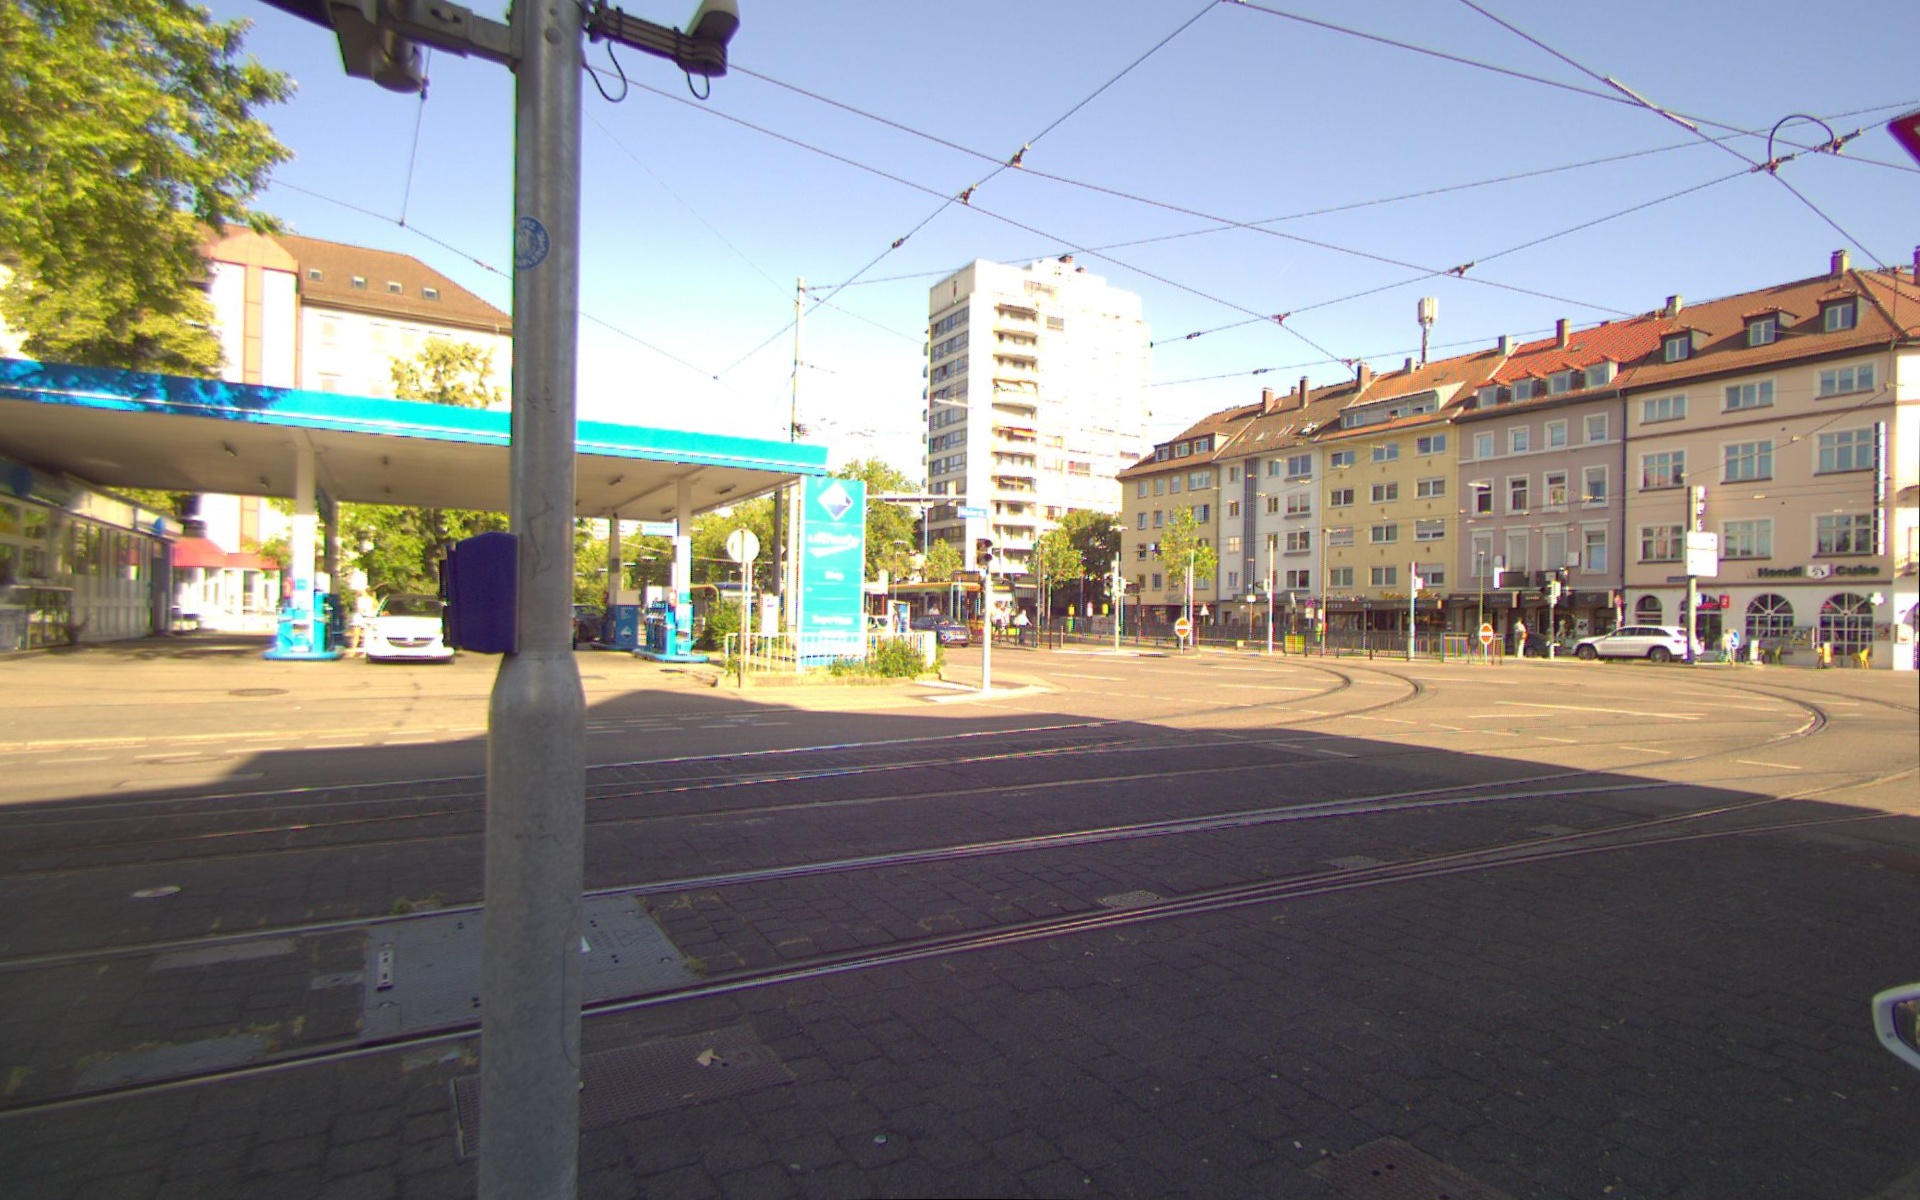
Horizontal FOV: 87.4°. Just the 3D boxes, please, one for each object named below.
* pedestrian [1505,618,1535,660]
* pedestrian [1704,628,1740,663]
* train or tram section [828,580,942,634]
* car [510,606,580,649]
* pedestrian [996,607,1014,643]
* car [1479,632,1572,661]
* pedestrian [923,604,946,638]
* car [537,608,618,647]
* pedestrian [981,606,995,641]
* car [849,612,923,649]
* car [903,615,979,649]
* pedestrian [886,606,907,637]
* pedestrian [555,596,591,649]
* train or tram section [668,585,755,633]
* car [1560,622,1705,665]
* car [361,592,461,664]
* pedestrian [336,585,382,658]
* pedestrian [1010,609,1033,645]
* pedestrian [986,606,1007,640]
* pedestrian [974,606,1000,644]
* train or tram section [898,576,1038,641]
[{"bbox_3d":[24.496,1.697,43.957,0.801,1.842,0.871,1,-1,-29],"label":"pedestrian"},{"bbox_3d":[36.383,2.172,47.967,1.029,1.612,1.061,1,-1,-28],"label":"pedestrian"},{"bbox_3d":[-5.250,0.523,67.584,3.252,3.335,10.157,1,-1,-33],"label":"train or tram section"},{"bbox_3d":[-13.502,0.867,32.580,1.752,1.332,3.520,1,-1,-28],"label":"car"},{"bbox_3d":[2.189,1.200,48.696,0.549,1.721,0.740,1,-1,-33],"label":"pedestrian"},{"bbox_3d":[30.775,2.497,54.716,1.980,1.483,3.962,1,-1,-34],"label":"car"},{"bbox_3d":[-1.399,1.138,55.135,0.902,1.826,0.887,1,-1,-33],"label":"pedestrian"},{"bbox_3d":[-17.204,1.215,45.385,1.960,1.685,4.001,1,-1,2],"label":"car"},{"bbox_3d":[1.388,1.163,50.033,0.491,1.721,0.553,1,-1,-33],"label":"pedestrian"},{"bbox_3d":[-3.507,1.396,46.808,1.976,1.615,3.970,1,-1,-29],"label":"car"},{"bbox_3d":[-0.958,1.494,48.350,1.937,1.475,4.077,1,0,-30],"label":"car"},{"bbox_3d":[-3.762,1.285,59.445,0.902,1.826,0.887,1,-1,-33],"label":"pedestrian"},{"bbox_3d":[-13.746,0.799,35.661,0.878,1.826,0.912,1,-1,1],"label":"pedestrian"},{"bbox_3d":[-15.030,0.454,60.042,2.233,2.627,10.398,2,0,-30],"label":"train or tram section"},{"bbox_3d":[28.714,1.811,43.078,1.977,1.682,4.823,1,-1,-31],"label":"car"},{"bbox_3d":[-12.273,0.609,22.436,1.773,1.461,3.968,2,-1,-30],"label":"car"},{"bbox_3d":[-13.902,0.507,23.238,0.801,1.652,0.643,1,-1,-24],"label":"pedestrian"},{"bbox_3d":[2.907,1.263,47.333,0.791,1.646,0.706,1,-1,-33],"label":"pedestrian"},{"bbox_3d":[1.854,1.180,50.873,0.773,1.721,0.692,1,-1,-33],"label":"pedestrian"},{"bbox_3d":[1.300,1.220,48.470,0.902,1.826,0.887,1,-1,-33],"label":"pedestrian"},{"bbox_3d":[0.231,0.520,58.966,3.252,3.459,10.157,1,-1,-33],"label":"train or tram section"}]
